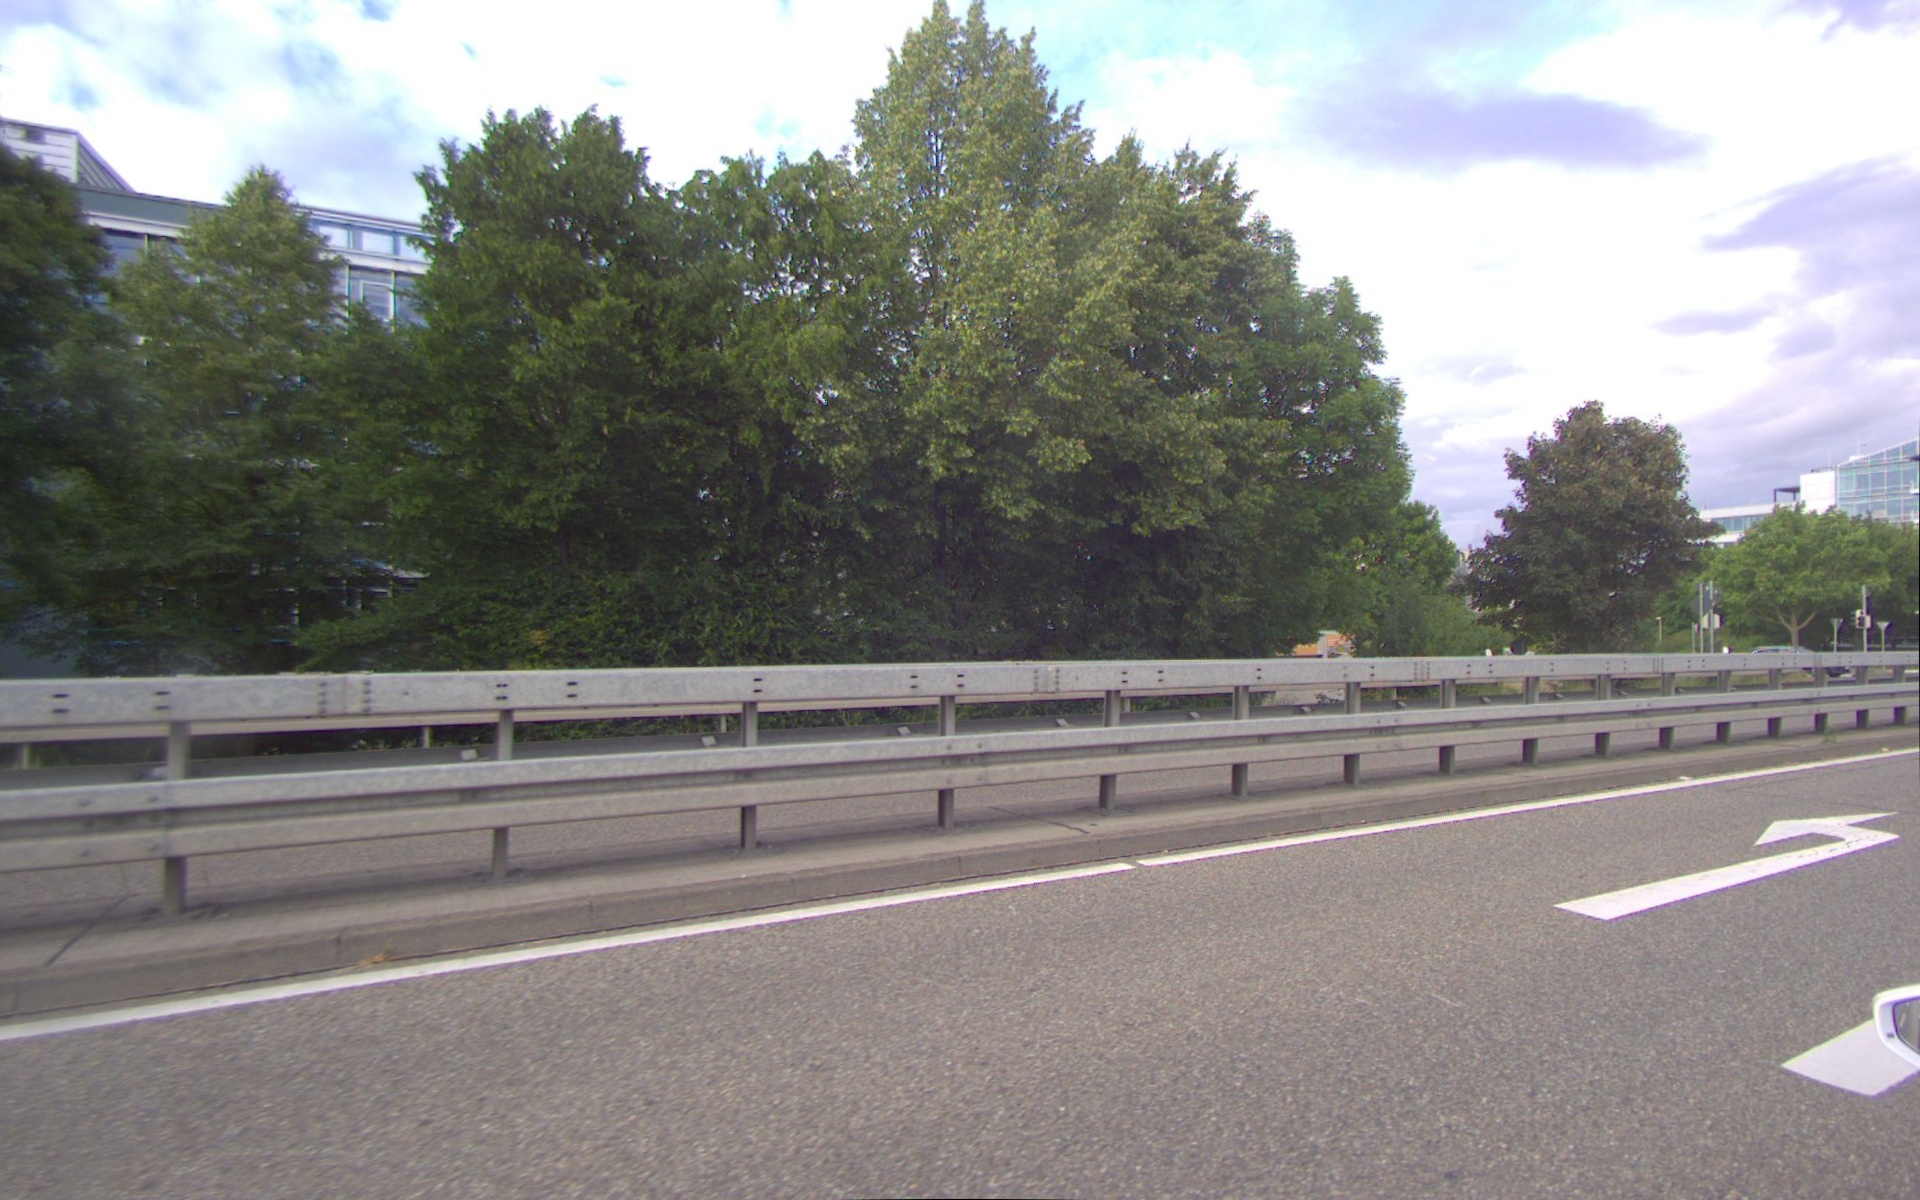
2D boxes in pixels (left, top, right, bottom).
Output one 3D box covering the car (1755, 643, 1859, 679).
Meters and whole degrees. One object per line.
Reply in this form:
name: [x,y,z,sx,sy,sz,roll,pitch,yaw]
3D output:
car: [40.952,2.911,48.626,1.721,1.560,3.676,1,-1,-42]
